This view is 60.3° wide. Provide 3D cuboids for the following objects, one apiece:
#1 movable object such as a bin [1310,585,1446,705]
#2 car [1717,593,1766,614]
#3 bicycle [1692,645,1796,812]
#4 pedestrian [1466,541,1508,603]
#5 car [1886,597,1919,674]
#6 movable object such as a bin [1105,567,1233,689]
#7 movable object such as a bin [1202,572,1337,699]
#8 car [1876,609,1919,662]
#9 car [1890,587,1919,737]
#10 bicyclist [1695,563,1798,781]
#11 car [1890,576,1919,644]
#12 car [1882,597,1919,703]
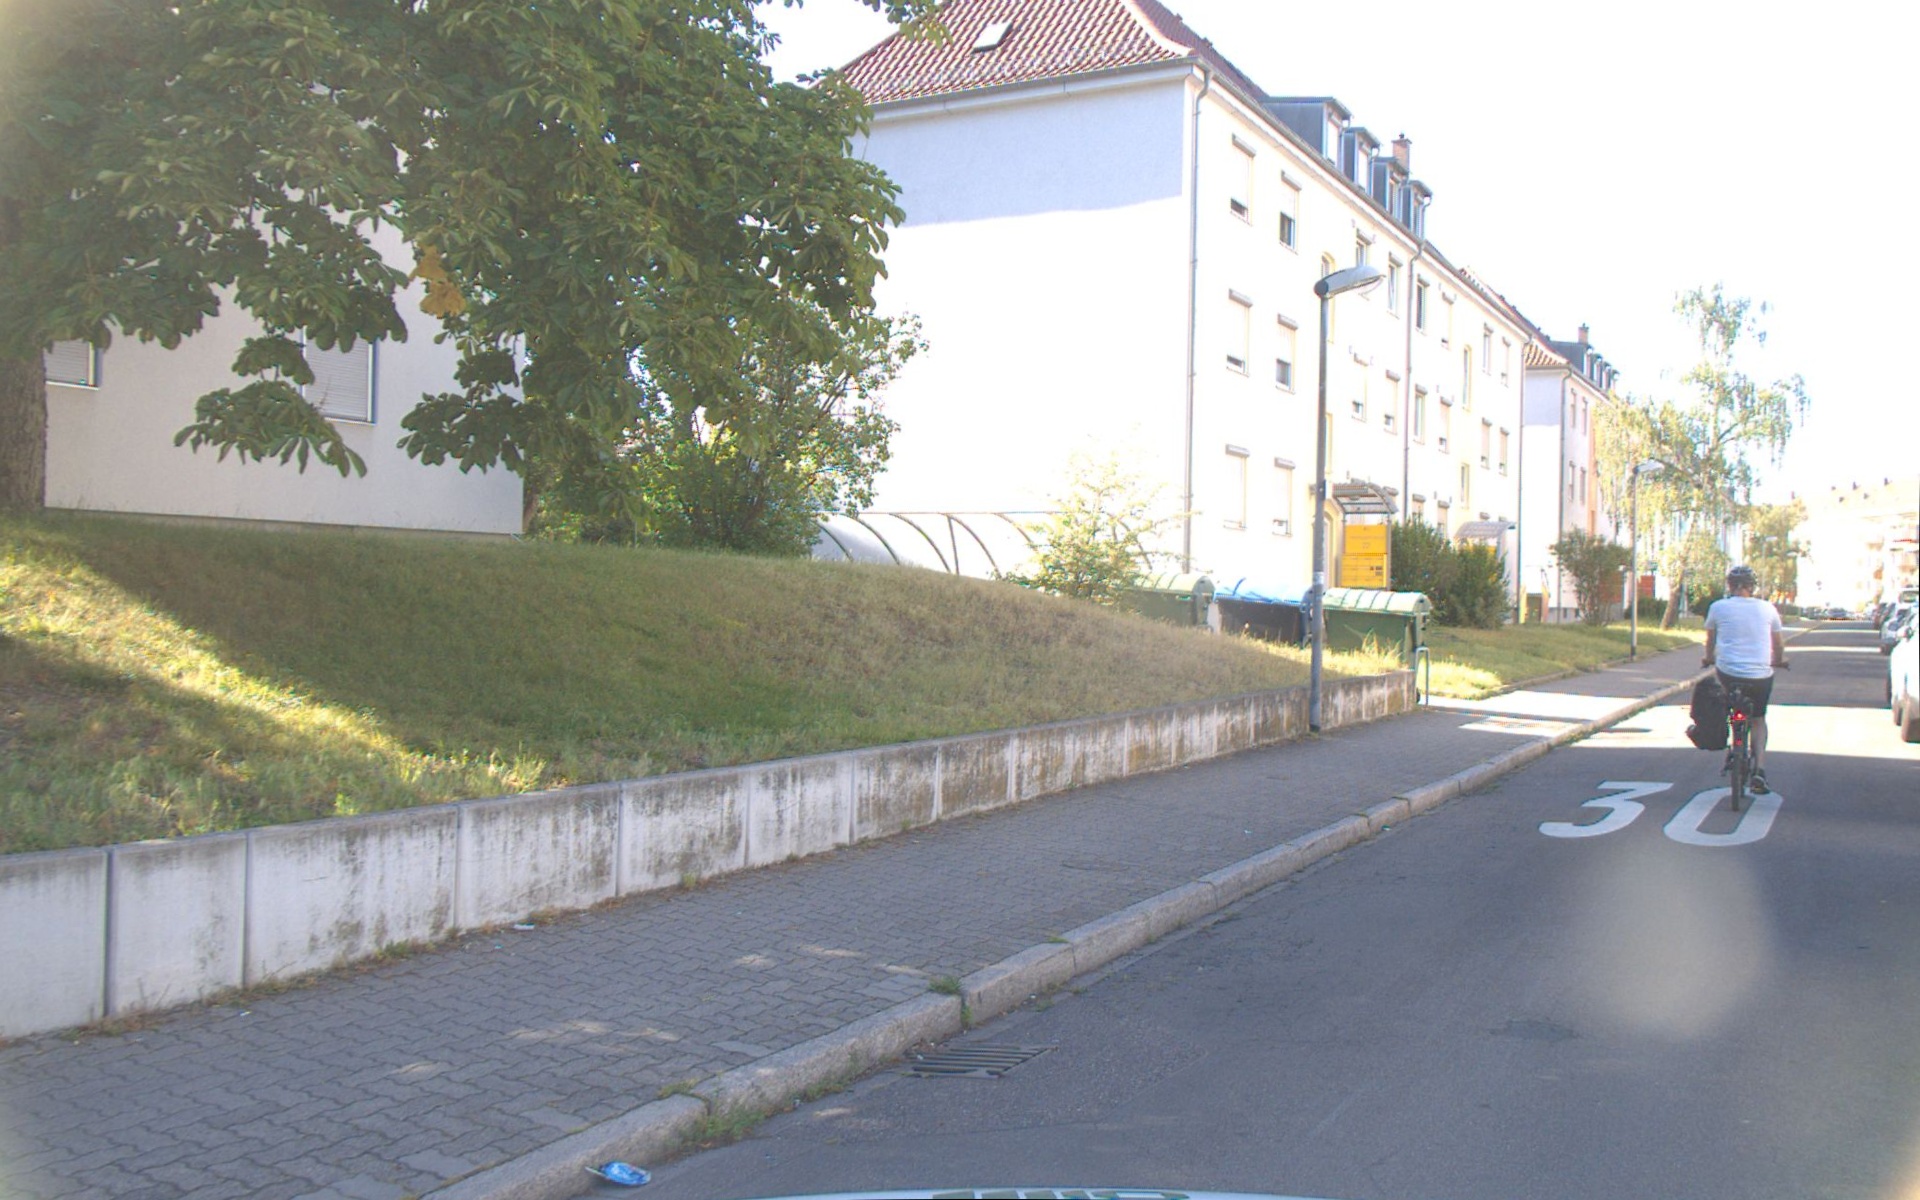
[{"bbox_3d":[5.546,0.573,21.921,1.464,1.504,1.262,1,0,29],"label":"movable object such as a bin"},{"bbox_3d":[69.586,0.289,147.292,3.911,1.832,1.997,0,0,28],"label":"car"},{"bbox_3d":[6.166,0.960,12.966,0.648,1.147,1.763,2,1,27],"label":"bicycle"},{"bbox_3d":[15.088,-0.803,47.327,0.952,1.745,0.945,1,0,29],"label":"pedestrian"},{"bbox_3d":[20.471,0.743,34.754,1.600,1.516,3.618,3,1,28],"label":"car"},{"bbox_3d":[2.950,0.376,23.257,1.432,1.641,1.189,1,0,29],"label":"movable object such as a bin"},{"bbox_3d":[4.228,0.462,22.568,1.471,1.651,1.261,1,0,29],"label":"movable object such as a bin"},{"bbox_3d":[29.084,1.062,50.575,1.858,1.522,4.085,1,0,29],"label":"car"},{"bbox_3d":[12.041,0.690,19.285,1.945,1.619,4.119,1,0,28],"label":"car"},{"bbox_3d":[6.138,0.535,12.890,0.680,1.624,0.790,1,0,27],"label":"bicyclist"},{"bbox_3d":[32.166,0.335,55.525,1.588,2.181,3.993,1,0,29],"label":"car"},{"bbox_3d":[14.547,0.702,24.199,1.723,1.457,3.624,2,1,28],"label":"car"}]
